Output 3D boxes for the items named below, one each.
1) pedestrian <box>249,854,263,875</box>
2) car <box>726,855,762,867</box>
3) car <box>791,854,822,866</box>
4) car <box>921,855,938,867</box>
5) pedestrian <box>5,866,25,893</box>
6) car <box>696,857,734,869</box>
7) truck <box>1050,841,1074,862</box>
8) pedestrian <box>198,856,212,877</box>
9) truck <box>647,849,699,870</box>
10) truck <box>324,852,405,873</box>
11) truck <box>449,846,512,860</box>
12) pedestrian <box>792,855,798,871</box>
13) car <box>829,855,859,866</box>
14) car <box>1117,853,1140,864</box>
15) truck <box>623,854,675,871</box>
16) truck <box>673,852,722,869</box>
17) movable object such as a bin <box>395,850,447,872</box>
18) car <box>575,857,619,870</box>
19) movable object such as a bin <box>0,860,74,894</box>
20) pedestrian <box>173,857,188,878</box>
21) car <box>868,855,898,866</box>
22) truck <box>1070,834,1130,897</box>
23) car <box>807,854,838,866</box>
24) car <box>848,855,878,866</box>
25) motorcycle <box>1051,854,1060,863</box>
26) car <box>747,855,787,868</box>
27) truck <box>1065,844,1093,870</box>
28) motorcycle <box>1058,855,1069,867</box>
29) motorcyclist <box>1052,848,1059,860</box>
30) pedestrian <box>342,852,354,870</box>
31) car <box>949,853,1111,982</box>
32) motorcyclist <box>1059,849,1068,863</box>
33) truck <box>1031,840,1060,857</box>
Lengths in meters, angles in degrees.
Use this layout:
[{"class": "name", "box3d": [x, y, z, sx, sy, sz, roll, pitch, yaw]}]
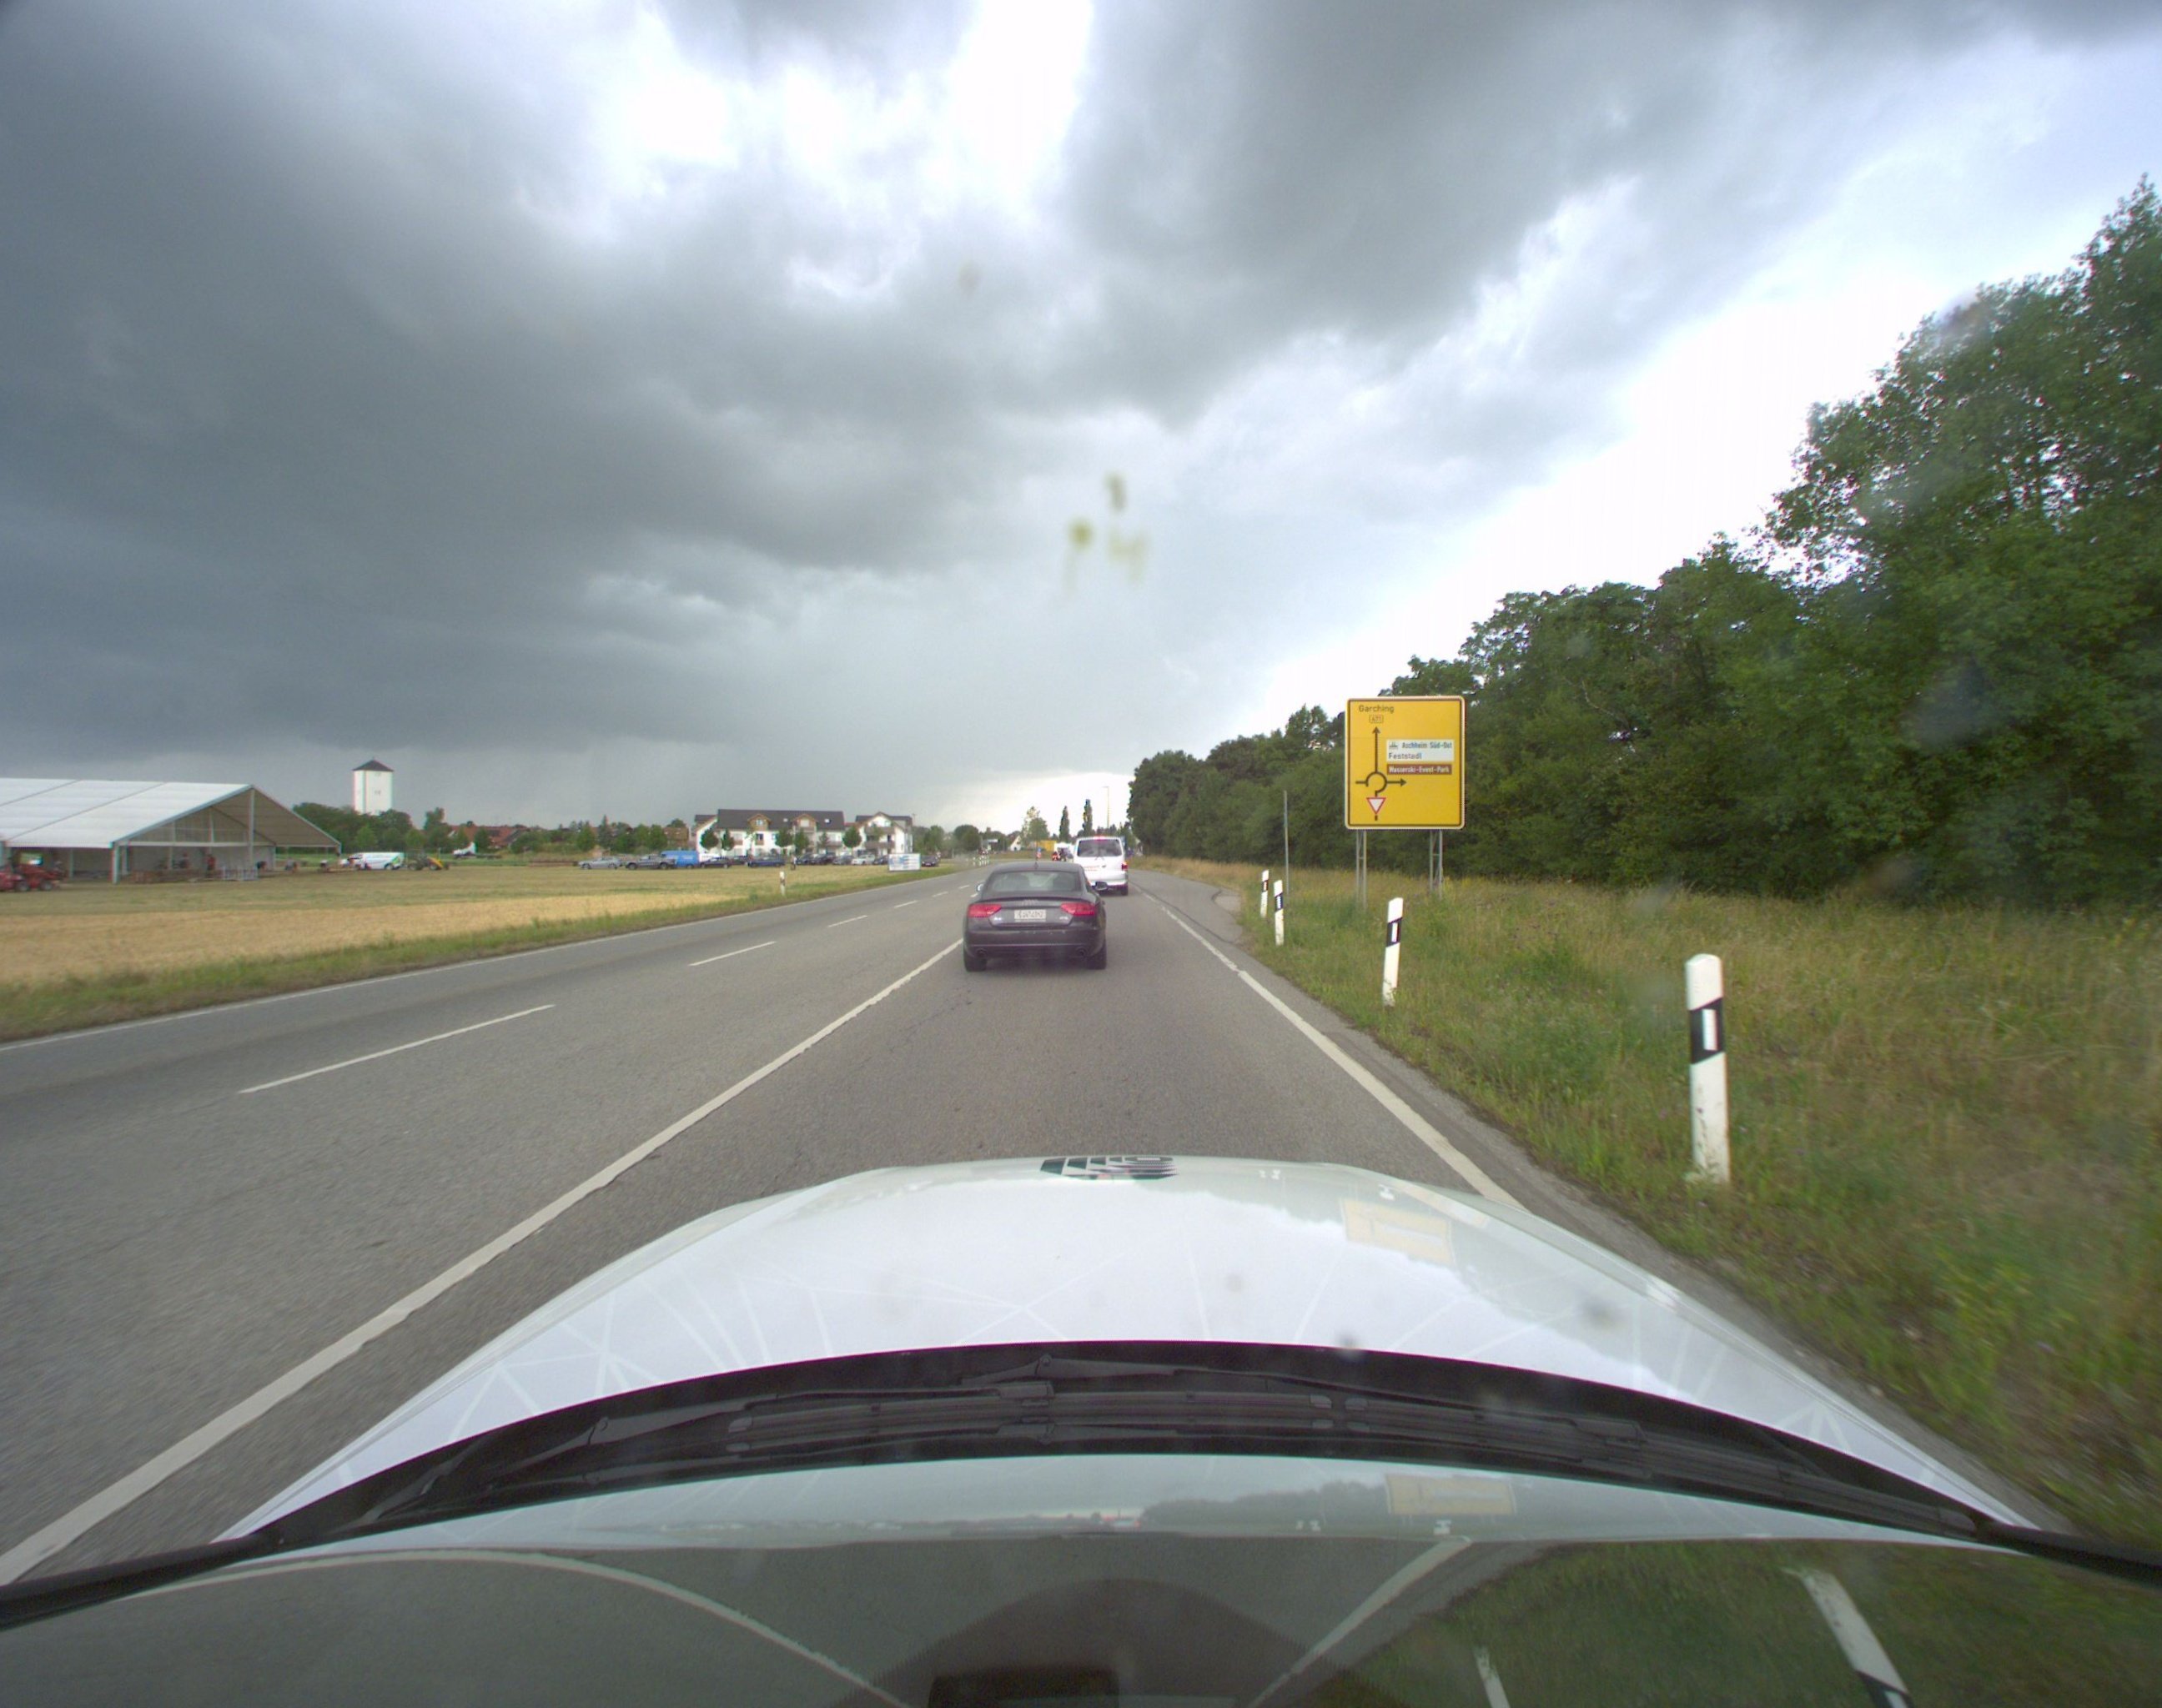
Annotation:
[{"class": "pedestrian", "box3d": [-72.398, 0.904, 71.465, 0.692, 1.776, 0.689, 0, 0, -25]}, {"class": "car", "box3d": [-48.743, 1.013, 117.793, 4.641, 1.697, 1.986, 0, 0, -20]}, {"class": "car", "box3d": [-39.122, 0.878, 116.008, 1.977, 1.629, 4.232, -1, 0, 19]}, {"class": "car", "box3d": [-18.644, 0.852, 100.356, 1.994, 1.442, 3.986, 0, 1, -11]}, {"class": "pedestrian", "box3d": [-64.166, 1.537, 49.018, 0.471, 1.627, 0.579, 0, 0, -22]}, {"class": "car", "box3d": [-46.621, 1.142, 103.806, 4.169, 1.518, 1.986, 0, 0, -21]}, {"class": "truck", "box3d": [-2.564, -0.331, 108.120, 2.623, 2.737, 5.854, 0, 0, -6]}, {"class": "pedestrian", "box3d": [-74.124, 1.032, 68.916, 0.659, 1.744, 0.719, 0, 0, -36]}, {"class": "truck", "box3d": [-49.508, 0.628, 99.064, 5.471, 2.446, 2.376, 0, 0, -23]}, {"class": "truck", "box3d": [-76.951, 0.868, 87.626, 6.078, 2.217, 2.696, 0, 0, -27]}, {"class": "truck", "box3d": [-110.251, -0.162, 149.566, 9.304, 2.530, 3.303, 0, 0, 4]}, {"class": "pedestrian", "box3d": [-33.241, 1.041, 94.639, 0.548, 1.785, 0.675, 0, 0, -12]}, {"class": "car", "box3d": [-32.995, 0.902, 113.482, 1.977, 1.535, 4.232, -1, 0, 19]}, {"class": "car", "box3d": [8.831, 0.800, 151.265, 3.953, 2.013, 2.010, 0, 0, 20]}, {"class": "truck", "box3d": [-50.228, 0.966, 94.896, 5.254, 1.920, 2.094, 0, 0, -27]}, {"class": "truck", "box3d": [-50.118, 0.828, 106.620, 5.588, 2.196, 2.587, 0, 0, -23]}, {"class": "movable object such as a bin", "box3d": [-70.415, 0.720, 86.921, 4.007, 2.243, 1.868, 0, 0, -28]}, {"class": "car", "box3d": [-57.082, 1.132, 96.074, 4.317, 1.461, 1.875, 0, 0, -27]}, {"class": "movable object such as a bin", "box3d": [-61.653, 1.306, 46.995, 2.600, 1.864, 4.440, 0, 0, -23]}, {"class": "pedestrian", "box3d": [-75.678, 1.108, 68.443, 0.735, 1.779, 0.751, 0, 0, -38]}, {"class": "car", "box3d": [-27.370, 0.871, 112.656, 1.977, 1.446, 4.232, -1, 0, 19]}, {"class": "truck", "box3d": [0.629, 0.357, 28.237, 1.898, 1.998, 4.628, 0, 0, 0]}, {"class": "car", "box3d": [-36.145, 0.873, 113.919, 1.977, 1.629, 4.232, -1, 0, 19]}, {"class": "car", "box3d": [-30.241, 0.878, 113.086, 1.977, 1.446, 4.232, -1, 0, 19]}, {"class": "motorcycle", "box3d": [-3.069, 0.545, 96.783, 0.943, 1.019, 2.279, 0, 0, -5]}, {"class": "car", "box3d": [-40.861, 0.949, 106.150, 4.732, 1.697, 1.986, 0, 0, -20]}, {"class": "truck", "box3d": [-0.100, 0.249, 66.683, 2.186, 2.013, 5.085, 0, 0, 0]}, {"class": "motorcycle", "box3d": [-1.655, 0.677, 76.985, 0.916, 1.094, 2.189, 0, 0, 2]}, {"class": "motorcyclist", "box3d": [-3.088, 0.023, 96.879, 0.784, 1.356, 0.852, 0, 0, -6]}, {"class": "pedestrian", "box3d": [-73.232, 0.662, 81.353, 0.689, 1.776, 0.691, 0, 0, -15]}, {"class": "car", "box3d": [-0.596, 0.739, 11.594, 1.869, 1.454, 4.176, -1, 0, 0]}, {"class": "motorcyclist", "box3d": [-1.662, 0.196, 76.872, 0.769, 1.383, 0.820, 0, 0, 1]}, {"class": "truck", "box3d": [-7.411, -1.163, 169.831, 3.586, 3.578, 9.896, 0, 0, -18]}]
